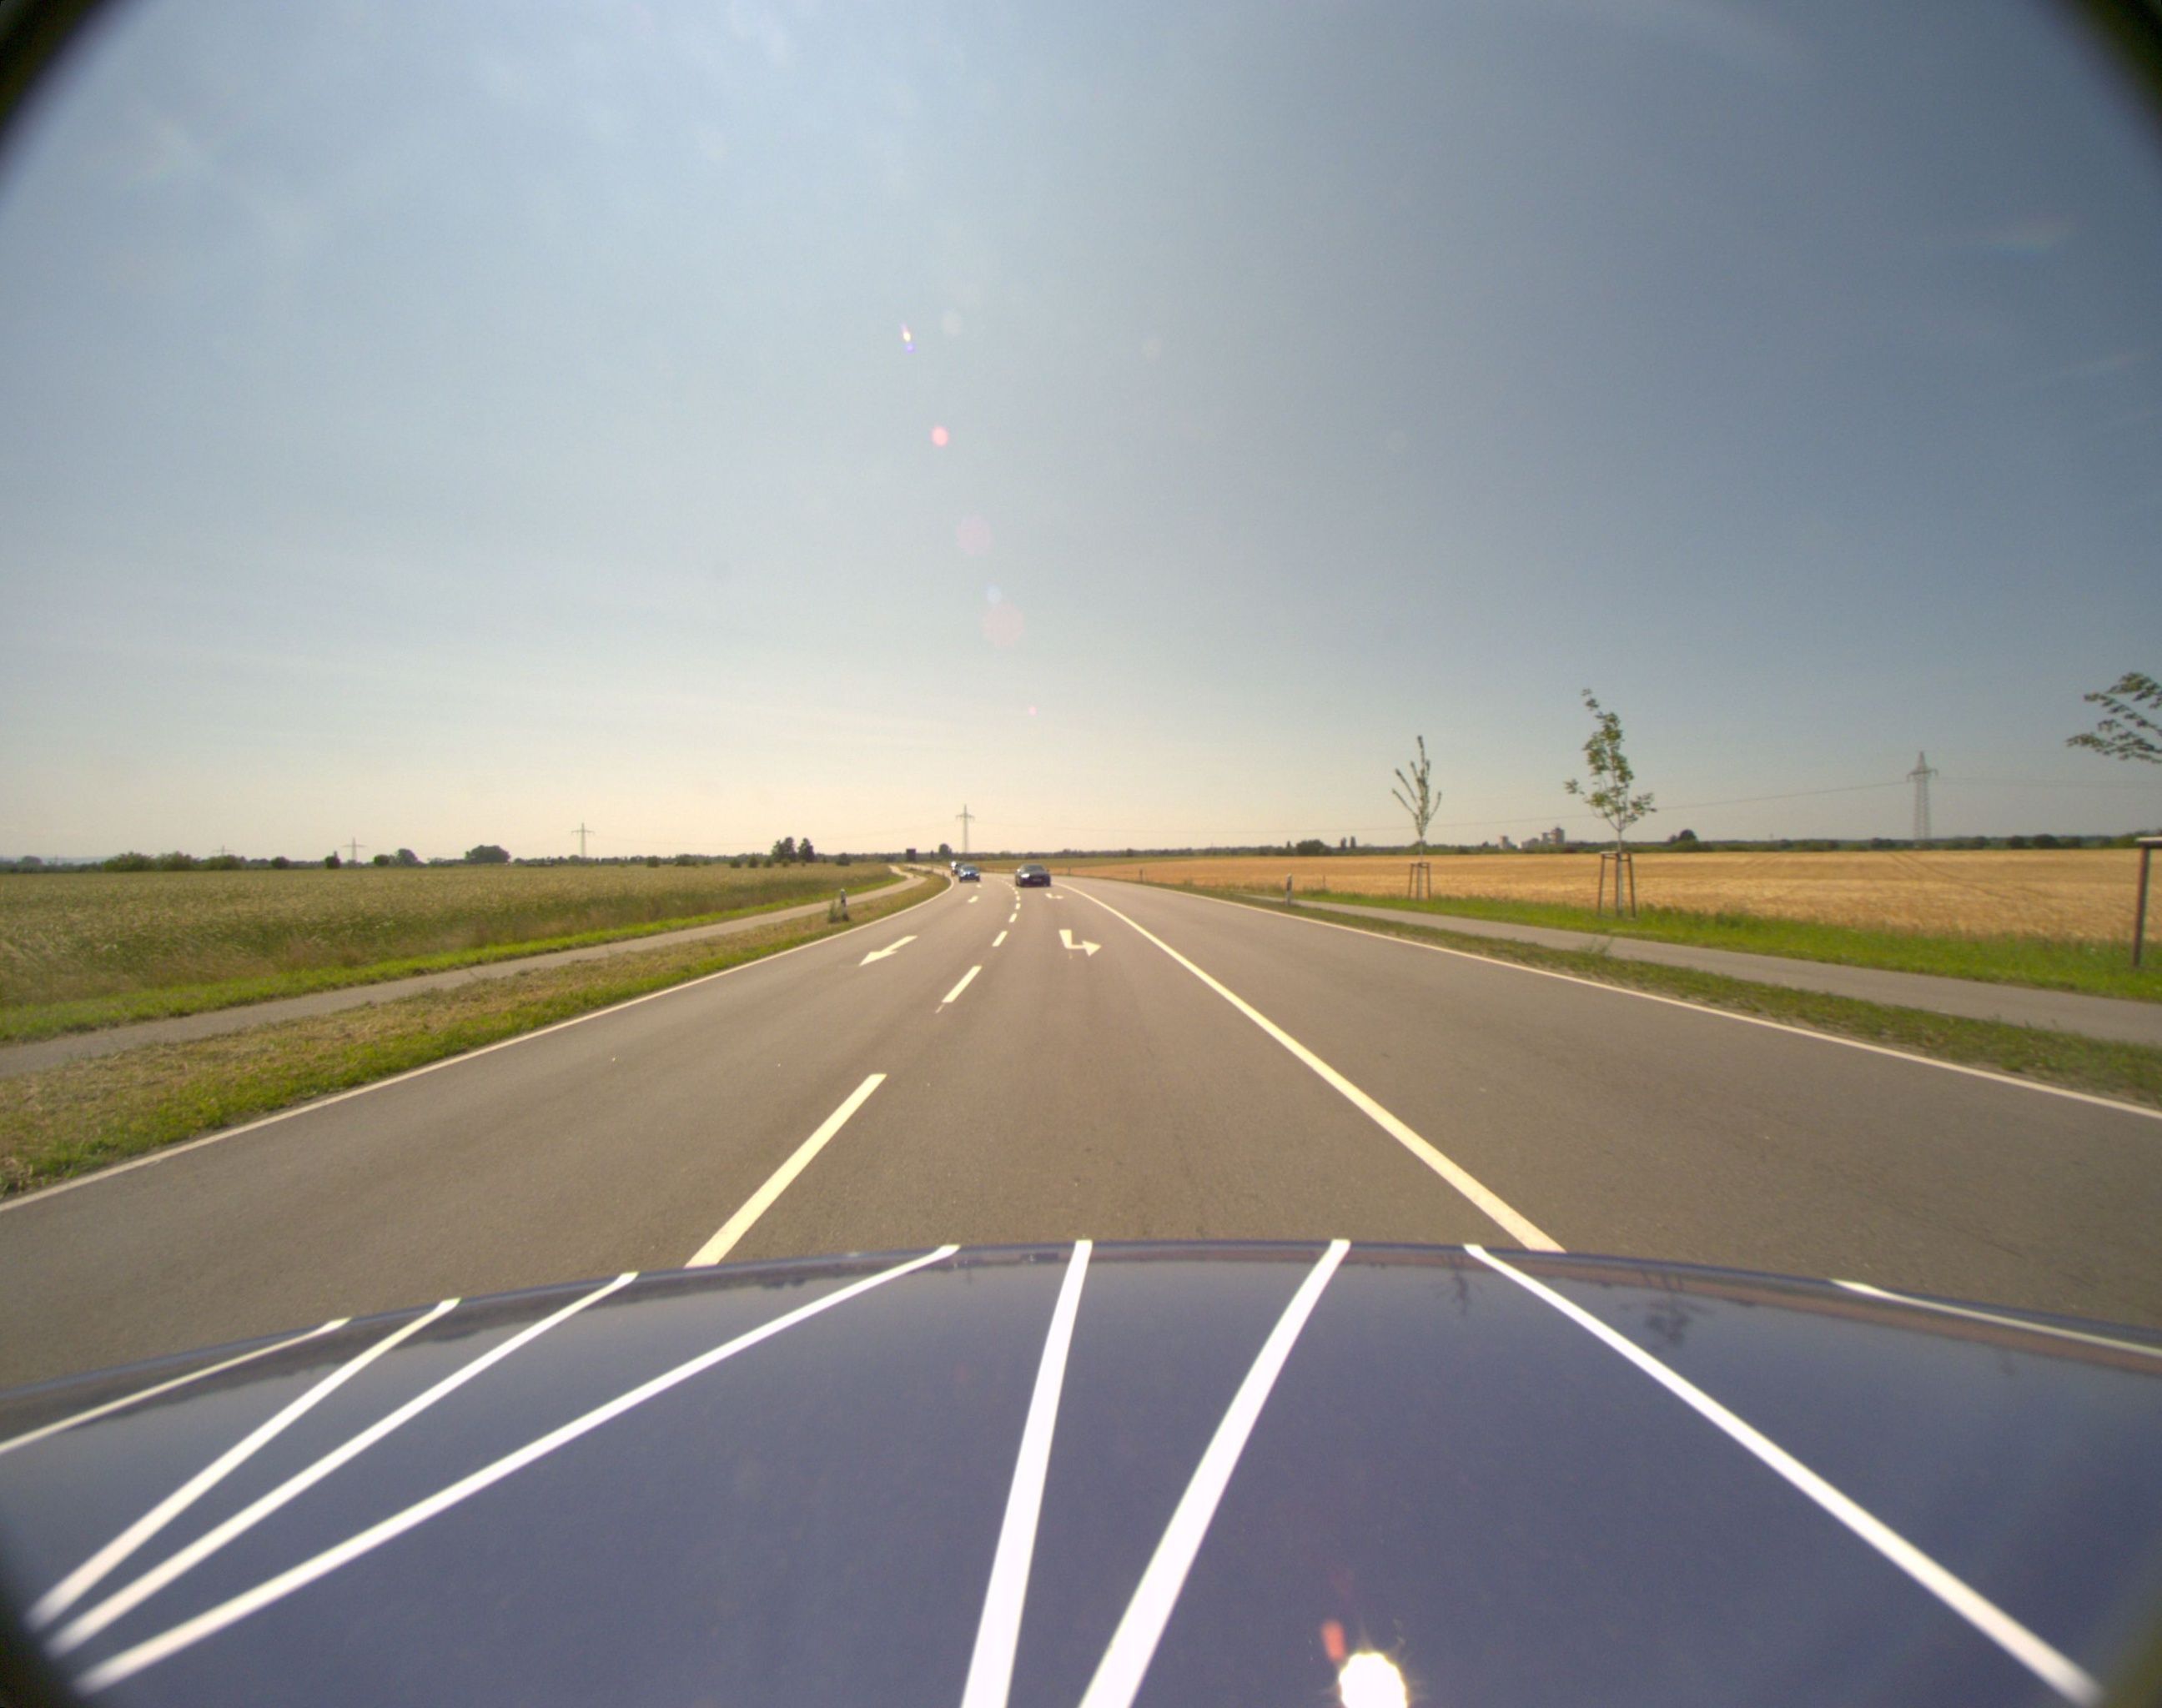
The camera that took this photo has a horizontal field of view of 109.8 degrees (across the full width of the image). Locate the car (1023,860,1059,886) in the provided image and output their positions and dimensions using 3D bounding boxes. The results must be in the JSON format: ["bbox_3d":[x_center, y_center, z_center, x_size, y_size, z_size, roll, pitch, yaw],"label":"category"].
[{"bbox_3d":[-2.639,1.176,49.087,2.190,1.458,5.012,-2,0,-4],"label":"car"}]

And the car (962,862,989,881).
[{"bbox_3d":[-9.343,1.528,67.607,2.191,1.458,5.010,-2,0,-7],"label":"car"}]

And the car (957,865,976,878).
[{"bbox_3d":[-14.455,2.193,95.881,2.191,1.458,5.010,-2,0,-9],"label":"car"}]
